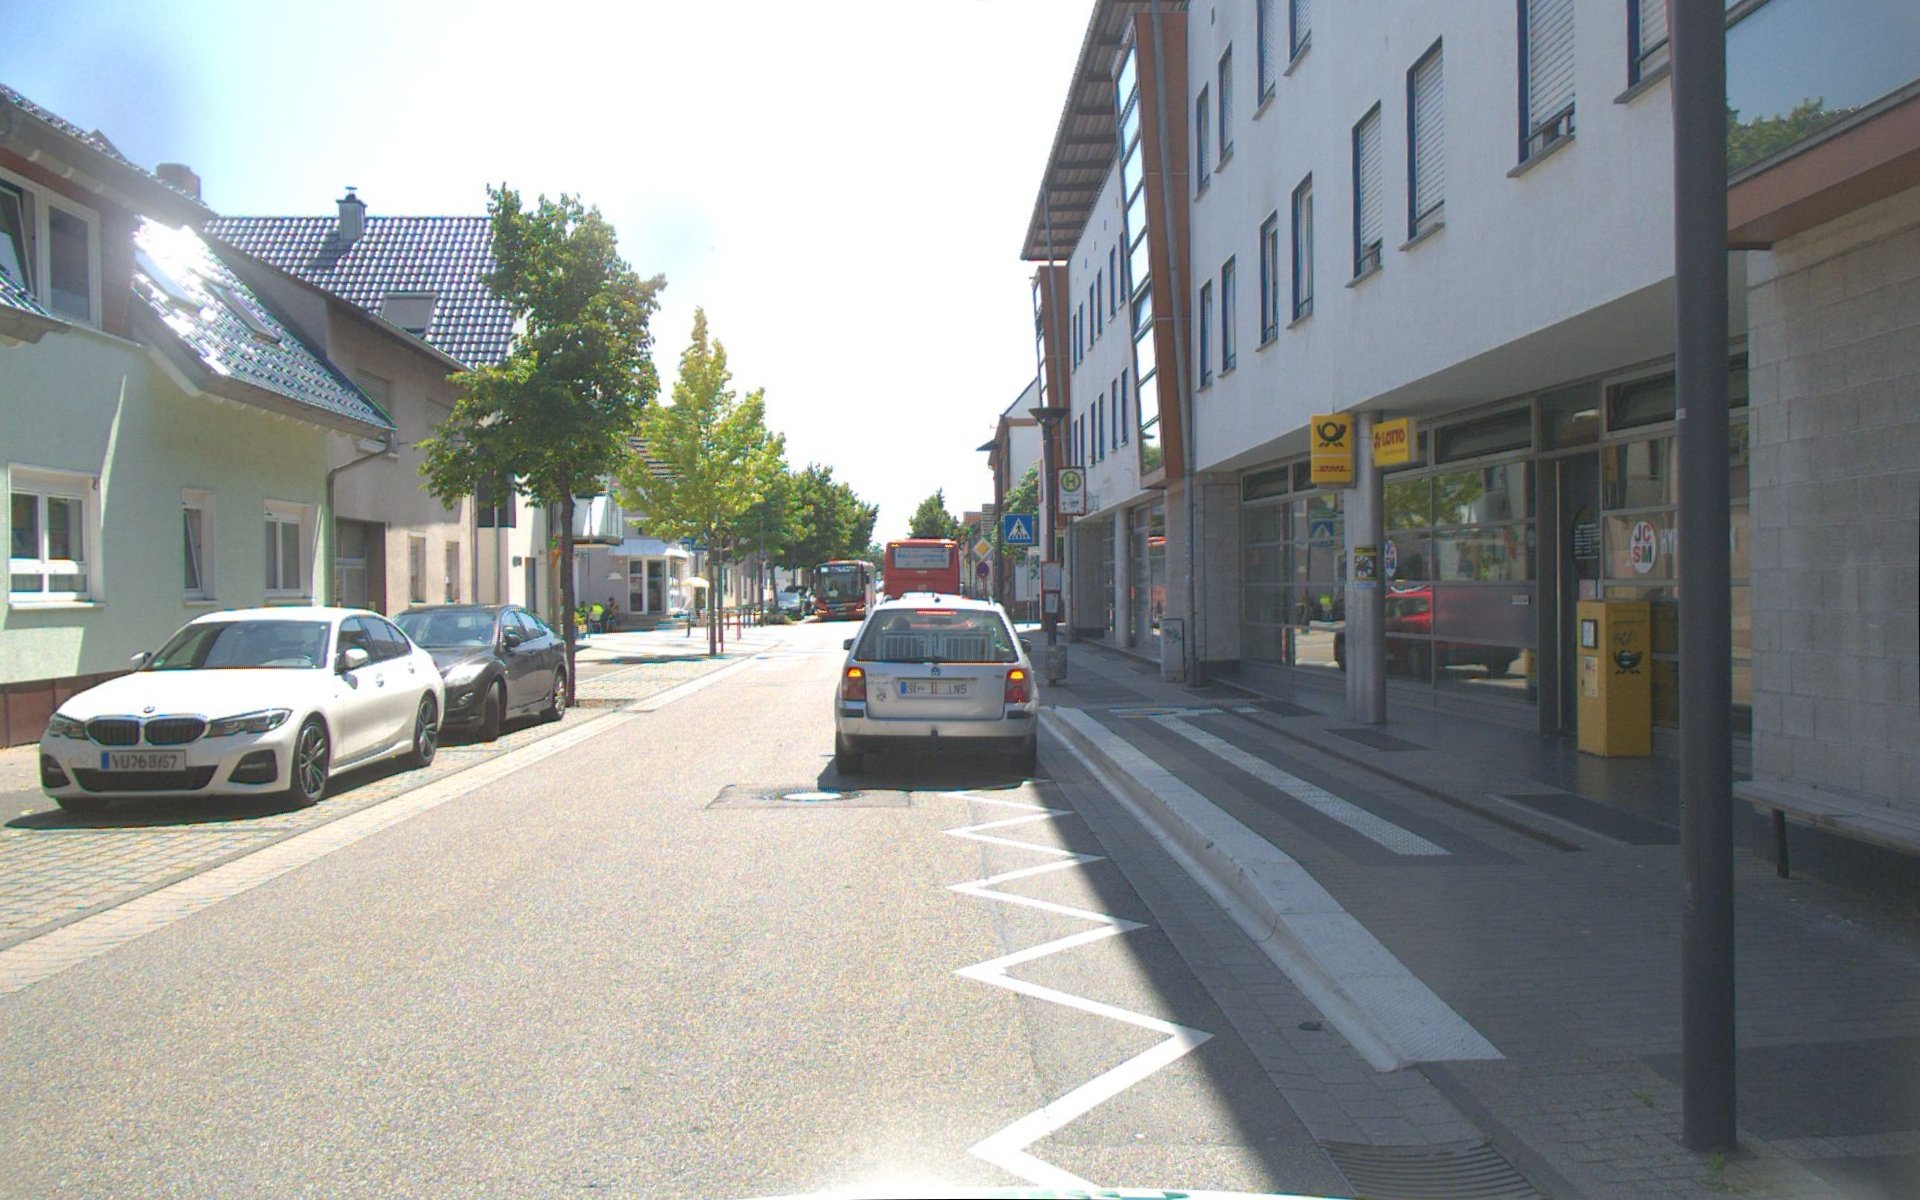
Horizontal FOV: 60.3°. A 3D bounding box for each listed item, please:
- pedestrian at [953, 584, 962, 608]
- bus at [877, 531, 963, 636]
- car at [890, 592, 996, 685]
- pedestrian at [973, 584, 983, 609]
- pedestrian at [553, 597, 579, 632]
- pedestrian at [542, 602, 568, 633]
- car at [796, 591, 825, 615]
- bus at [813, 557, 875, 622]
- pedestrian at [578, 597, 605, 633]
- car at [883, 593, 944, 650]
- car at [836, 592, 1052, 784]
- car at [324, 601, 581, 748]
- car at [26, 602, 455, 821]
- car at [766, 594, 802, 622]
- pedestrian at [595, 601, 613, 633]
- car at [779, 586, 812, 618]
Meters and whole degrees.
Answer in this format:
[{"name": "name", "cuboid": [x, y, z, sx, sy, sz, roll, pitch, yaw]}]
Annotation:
[{"name": "pedestrian", "cuboid": [-0.190, -0.258, 117.639, 0.594, 1.696, 0.789, -1, 0, -3]}, {"name": "bus", "cuboid": [-1.602, -0.529, 59.094, 2.685, 3.356, 12.696, 0, 0, -3]}, {"name": "car", "cuboid": [-0.329, 0.604, 28.066, 1.643, 1.455, 3.678, 1, 0, -2]}, {"name": "pedestrian", "cuboid": [1.214, -0.234, 112.822, 0.594, 1.696, 0.789, -1, 0, -3]}, {"name": "pedestrian", "cuboid": [-15.022, 0.542, 63.086, 0.776, 1.311, 0.631, 1, 0, 45]}, {"name": "pedestrian", "cuboid": [-15.220, 0.666, 62.193, 0.776, 1.135, 0.631, 1, 0, 45]}, {"name": "car", "cuboid": [-10.302, 0.180, 114.155, 1.775, 1.586, 3.998, -1, 0, -2]}, {"name": "bus", "cuboid": [-6.337, -0.622, 92.808, 2.615, 3.178, 17.801, -2, 1, -2]}, {"name": "pedestrian", "cuboid": [-14.030, 0.569, 62.958, 0.776, 1.311, 0.631, 1, 0, 45]}, {"name": "car", "cuboid": [-1.217, 0.548, 44.426, 1.561, 1.455, 3.679, 1, 0, -1]}, {"name": "car", "cuboid": [-0.183, 0.677, 14.752, 1.643, 1.455, 3.678, 2, 0, -2]}, {"name": "car", "cuboid": [-5.706, 0.761, 19.169, 1.627, 1.462, 4.537, -1, 0, -1]}, {"name": "car", "cuboid": [-5.595, 0.765, 13.530, 1.685, 1.462, 4.458, 0, 0, -2]}, {"name": "car", "cuboid": [-9.333, 0.412, 87.867, 1.573, 1.463, 4.063, -1, 0, -2]}, {"name": "pedestrian", "cuboid": [-13.779, 0.658, 64.037, 0.610, 1.199, 0.696, -1, 0, -6]}, {"name": "car", "cuboid": [-9.955, 0.113, 100.290, 1.729, 1.870, 3.787, -1, 0, -2]}]
